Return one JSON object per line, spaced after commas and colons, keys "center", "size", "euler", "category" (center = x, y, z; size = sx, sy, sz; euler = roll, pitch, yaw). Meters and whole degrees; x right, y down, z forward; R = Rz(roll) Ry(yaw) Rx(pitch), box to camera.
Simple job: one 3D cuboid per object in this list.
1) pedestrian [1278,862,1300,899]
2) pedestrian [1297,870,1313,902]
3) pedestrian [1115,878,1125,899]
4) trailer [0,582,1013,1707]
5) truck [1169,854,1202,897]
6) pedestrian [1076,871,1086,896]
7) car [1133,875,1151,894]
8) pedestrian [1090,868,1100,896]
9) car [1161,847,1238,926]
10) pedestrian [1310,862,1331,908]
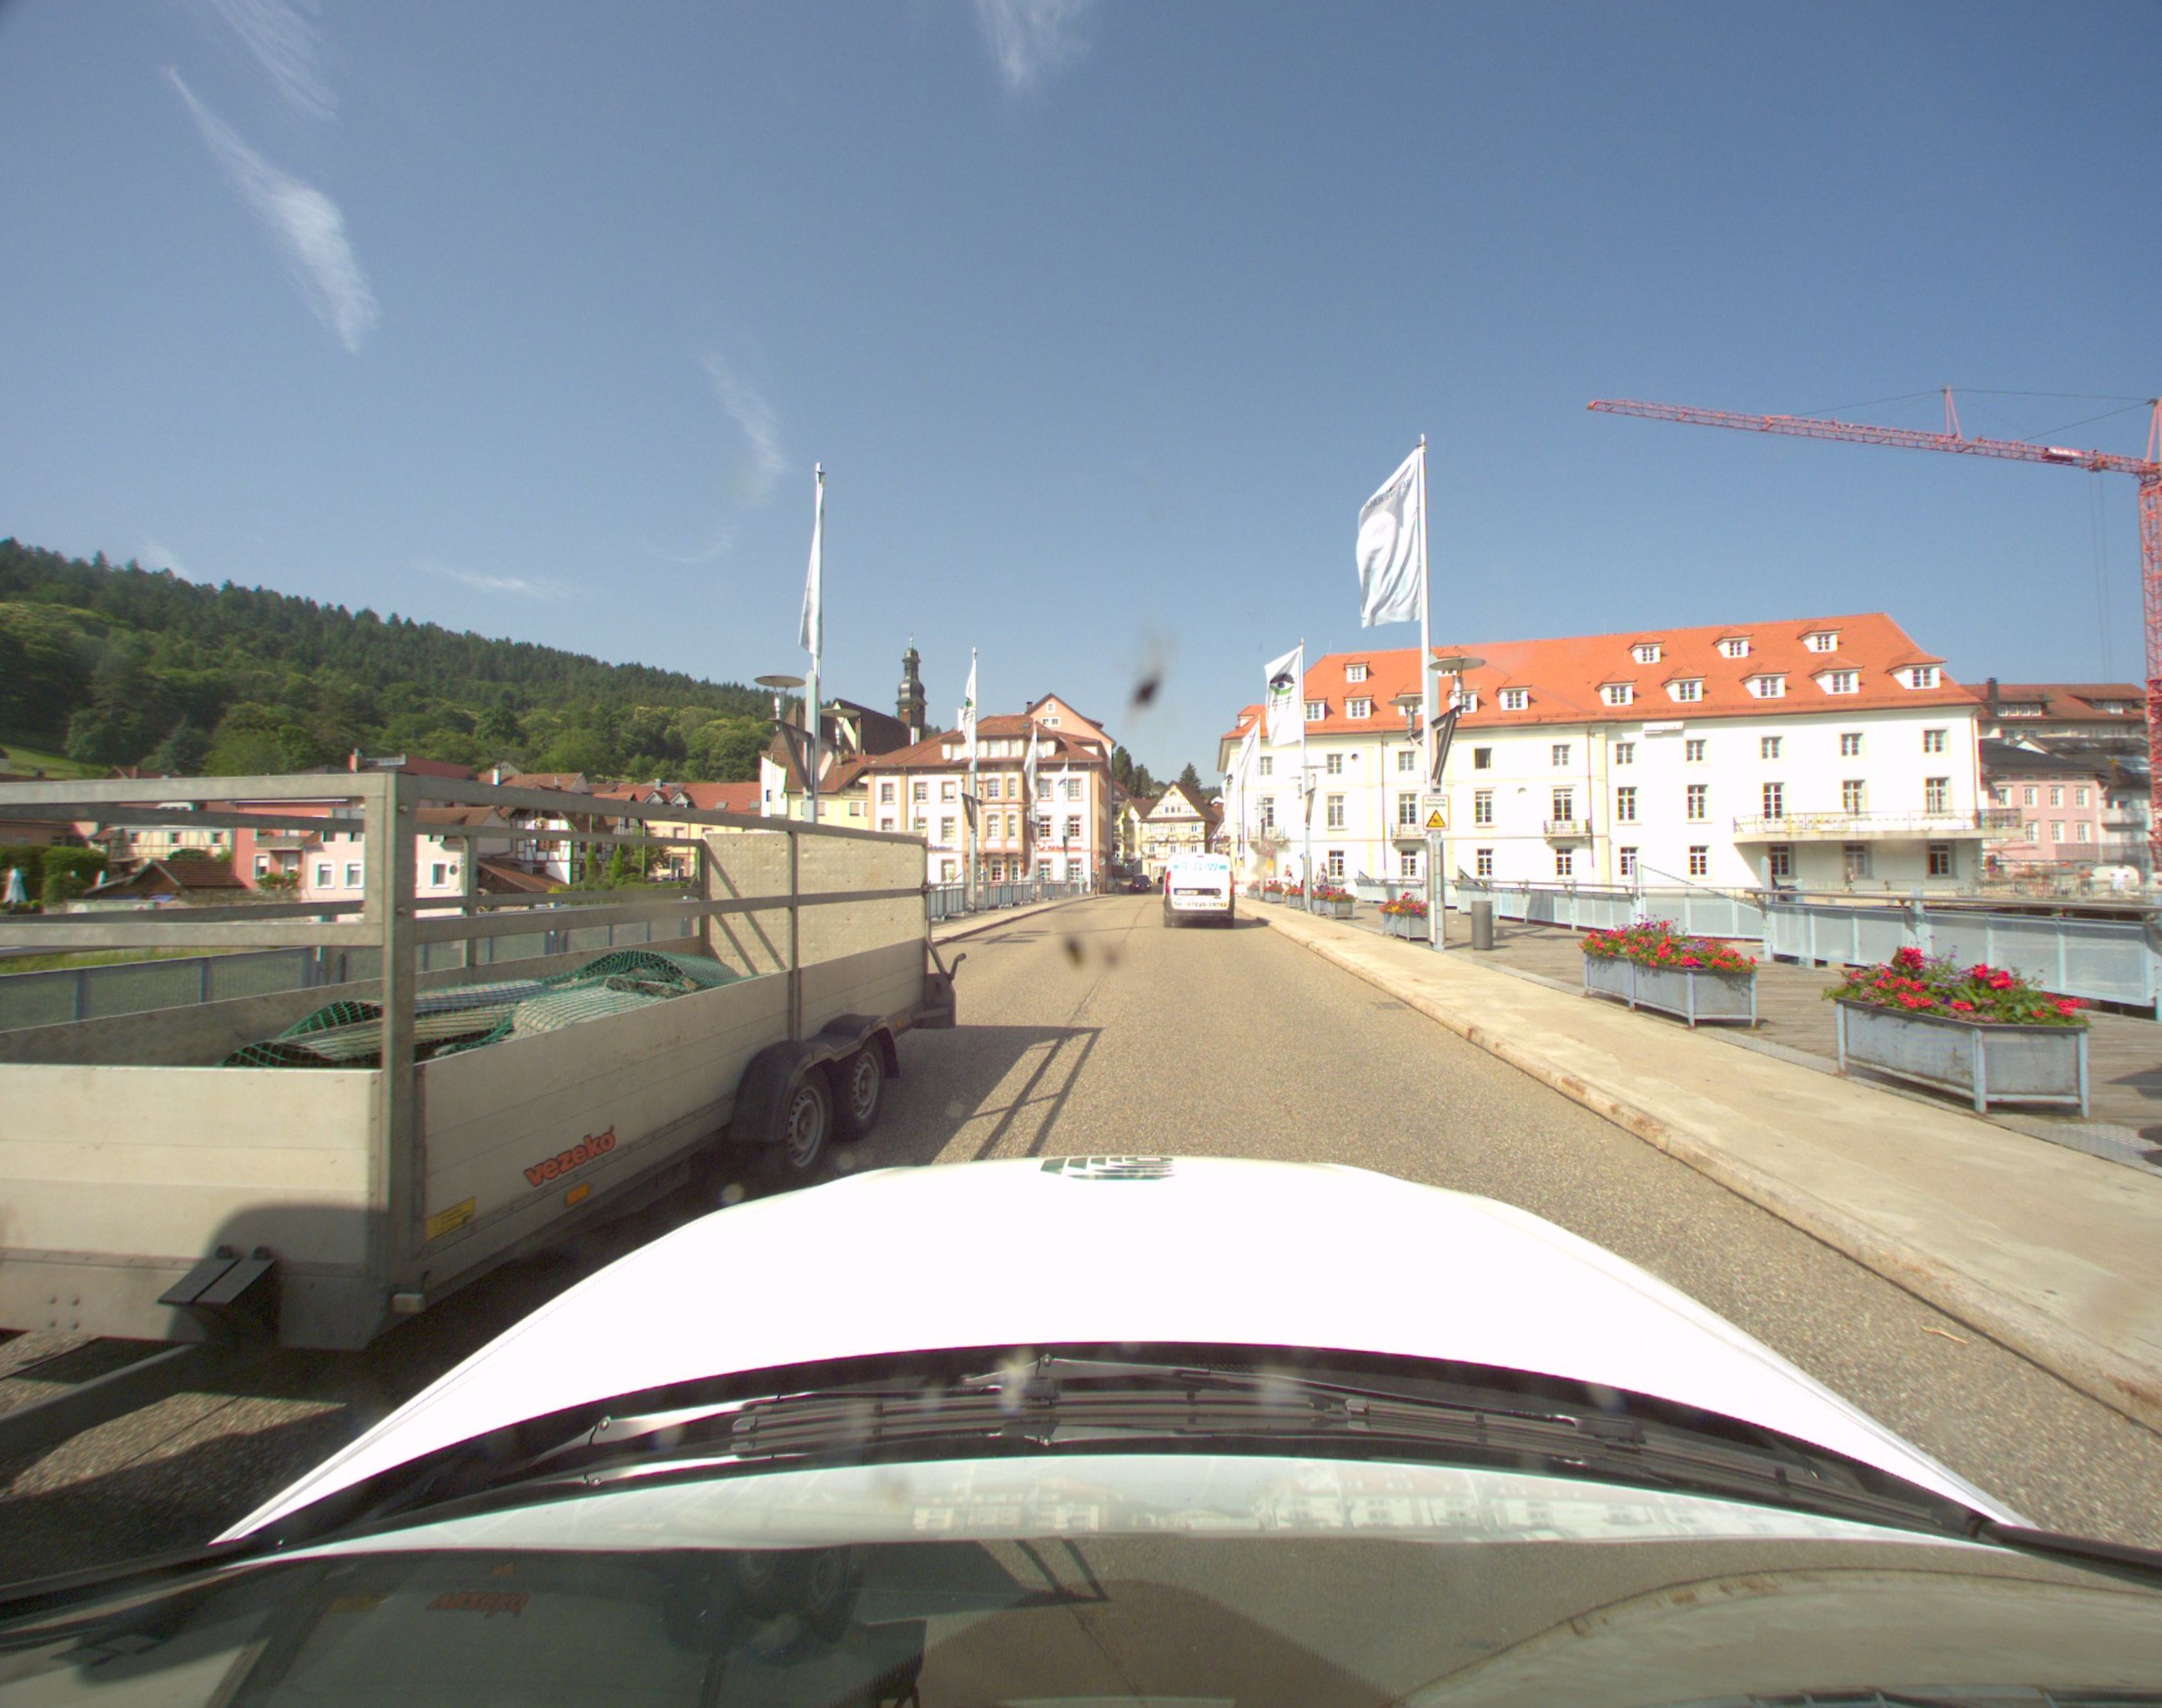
{"center": [9.697, 1.222, 37.971], "size": [0.731, 1.723, 0.739], "euler": [1, -2, -34], "category": "pedestrian"}
{"center": [8.705, 1.244, 31.629], "size": [0.450, 1.244, 0.626], "euler": [0, -2, 1], "category": "pedestrian"}
{"center": [3.442, 3.060, 72.081], "size": [0.799, 1.857, 0.617], "euler": [0, -1, 5], "category": "pedestrian"}
{"center": [-2.320, 0.567, 3.956], "size": [2.594, 1.828, 5.653], "euler": [-1, -1, 10], "category": "trailer"}
{"center": [6.480, 1.347, 50.832], "size": [1.852, 2.586, 4.266], "euler": [0, -2, 5], "category": "truck"}
{"center": [0.010, 1.891, 52.757], "size": [0.581, 1.610, 0.537], "euler": [1, -1, 3], "category": "pedestrian"}
{"center": [6.160, 3.022, 82.544], "size": [1.768, 1.792, 4.702], "euler": [1, -1, 4], "category": "car"}
{"center": [0.907, 1.782, 52.627], "size": [0.612, 1.763, 0.864], "euler": [1, -1, 3], "category": "pedestrian"}
{"center": [3.097, 0.846, 21.870], "size": [1.835, 1.906, 4.321], "euler": [0, -2, 6], "category": "car"}
{"center": [8.462, 1.083, 28.776], "size": [0.661, 1.618, 0.565], "euler": [0, -1, 13], "category": "pedestrian"}
